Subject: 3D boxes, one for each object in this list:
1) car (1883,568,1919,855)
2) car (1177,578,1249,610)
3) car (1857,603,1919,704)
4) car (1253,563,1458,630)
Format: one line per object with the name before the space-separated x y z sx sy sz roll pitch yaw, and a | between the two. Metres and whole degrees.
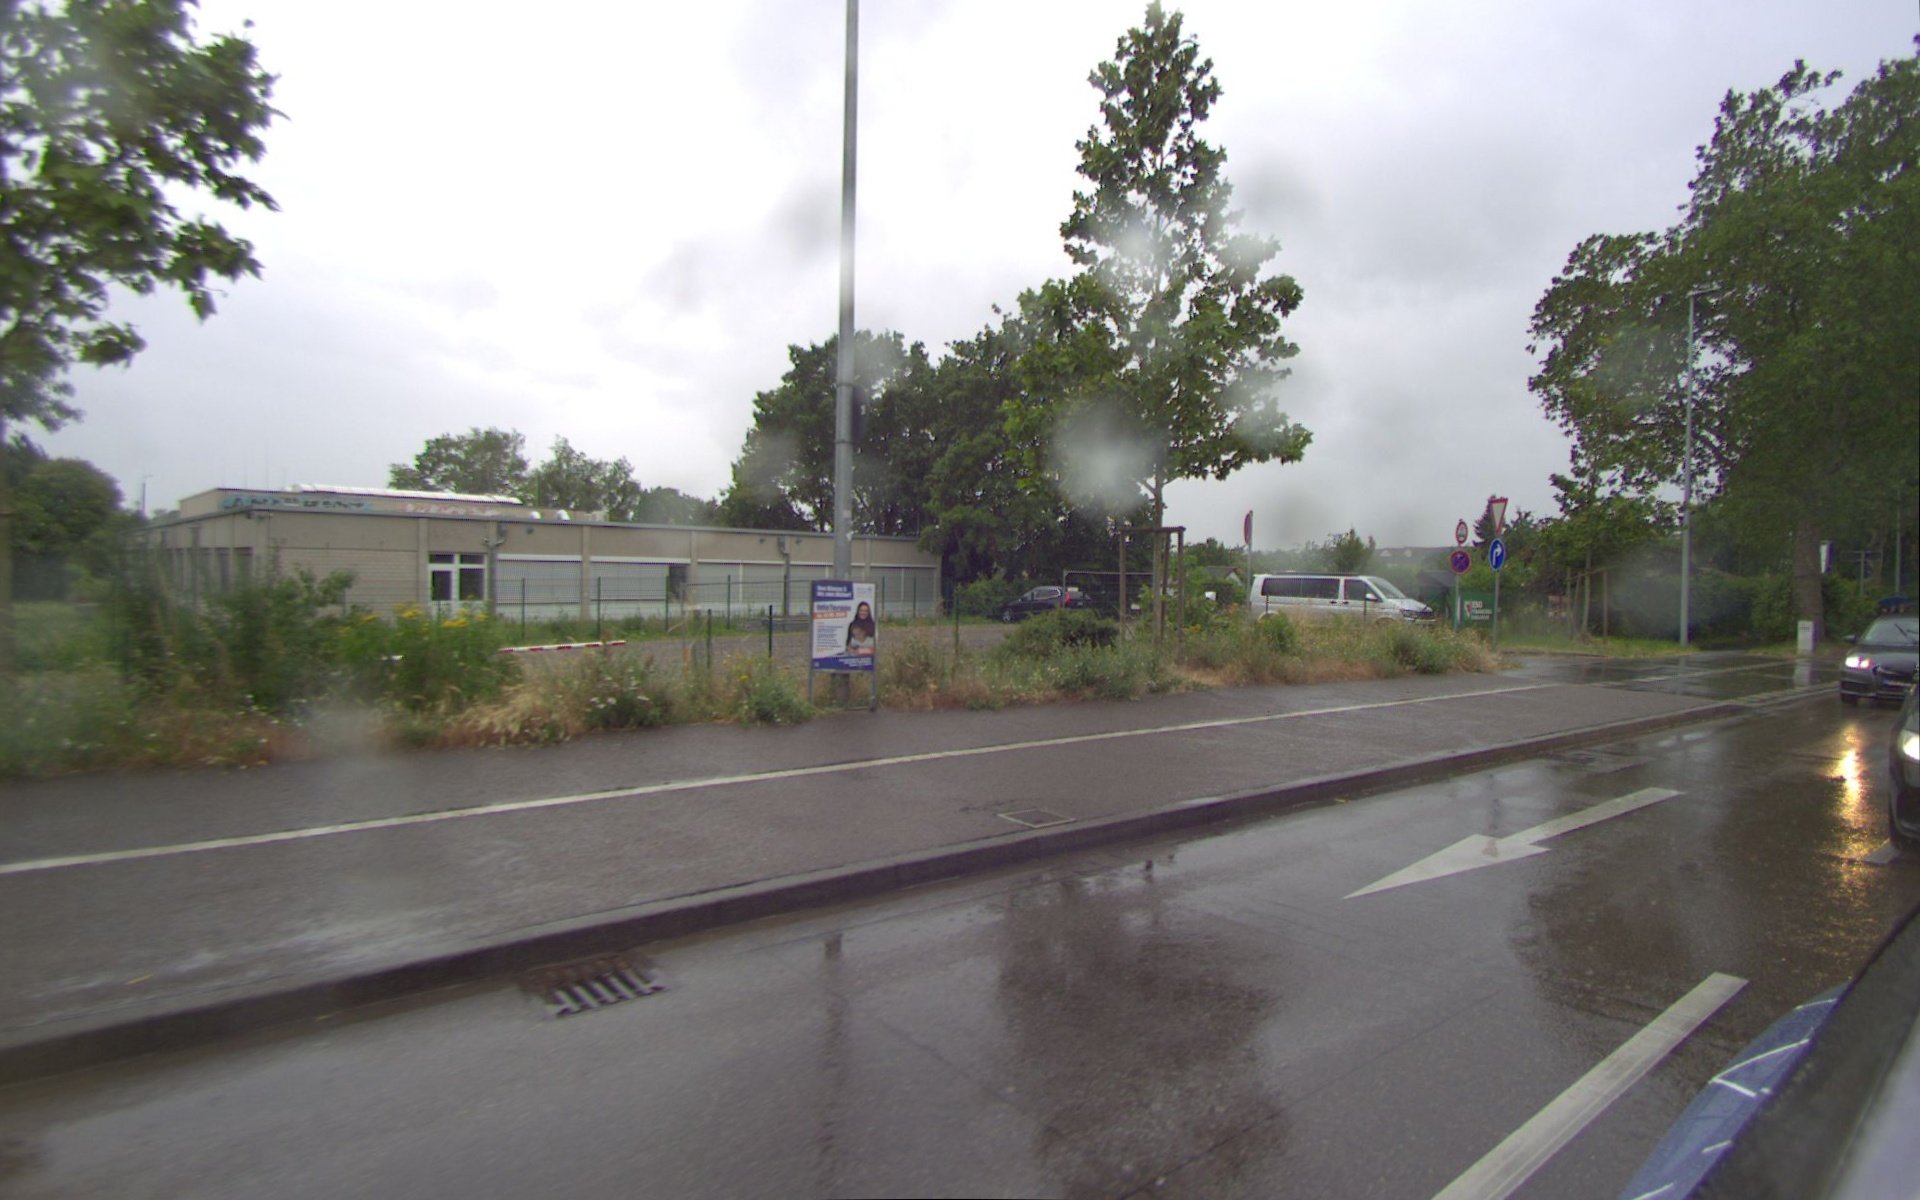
car | 7.372 0.644 6.452 4.096 1.601 1.757 1 0 -41
car | 12.855 -0.307 51.574 1.320 1.604 3.553 0 0 -38
car | 15.164 0.791 15.608 3.569 1.383 1.600 -1 2 -42
car | 11.235 -0.112 29.045 1.974 1.747 5.164 -1 0 -44
